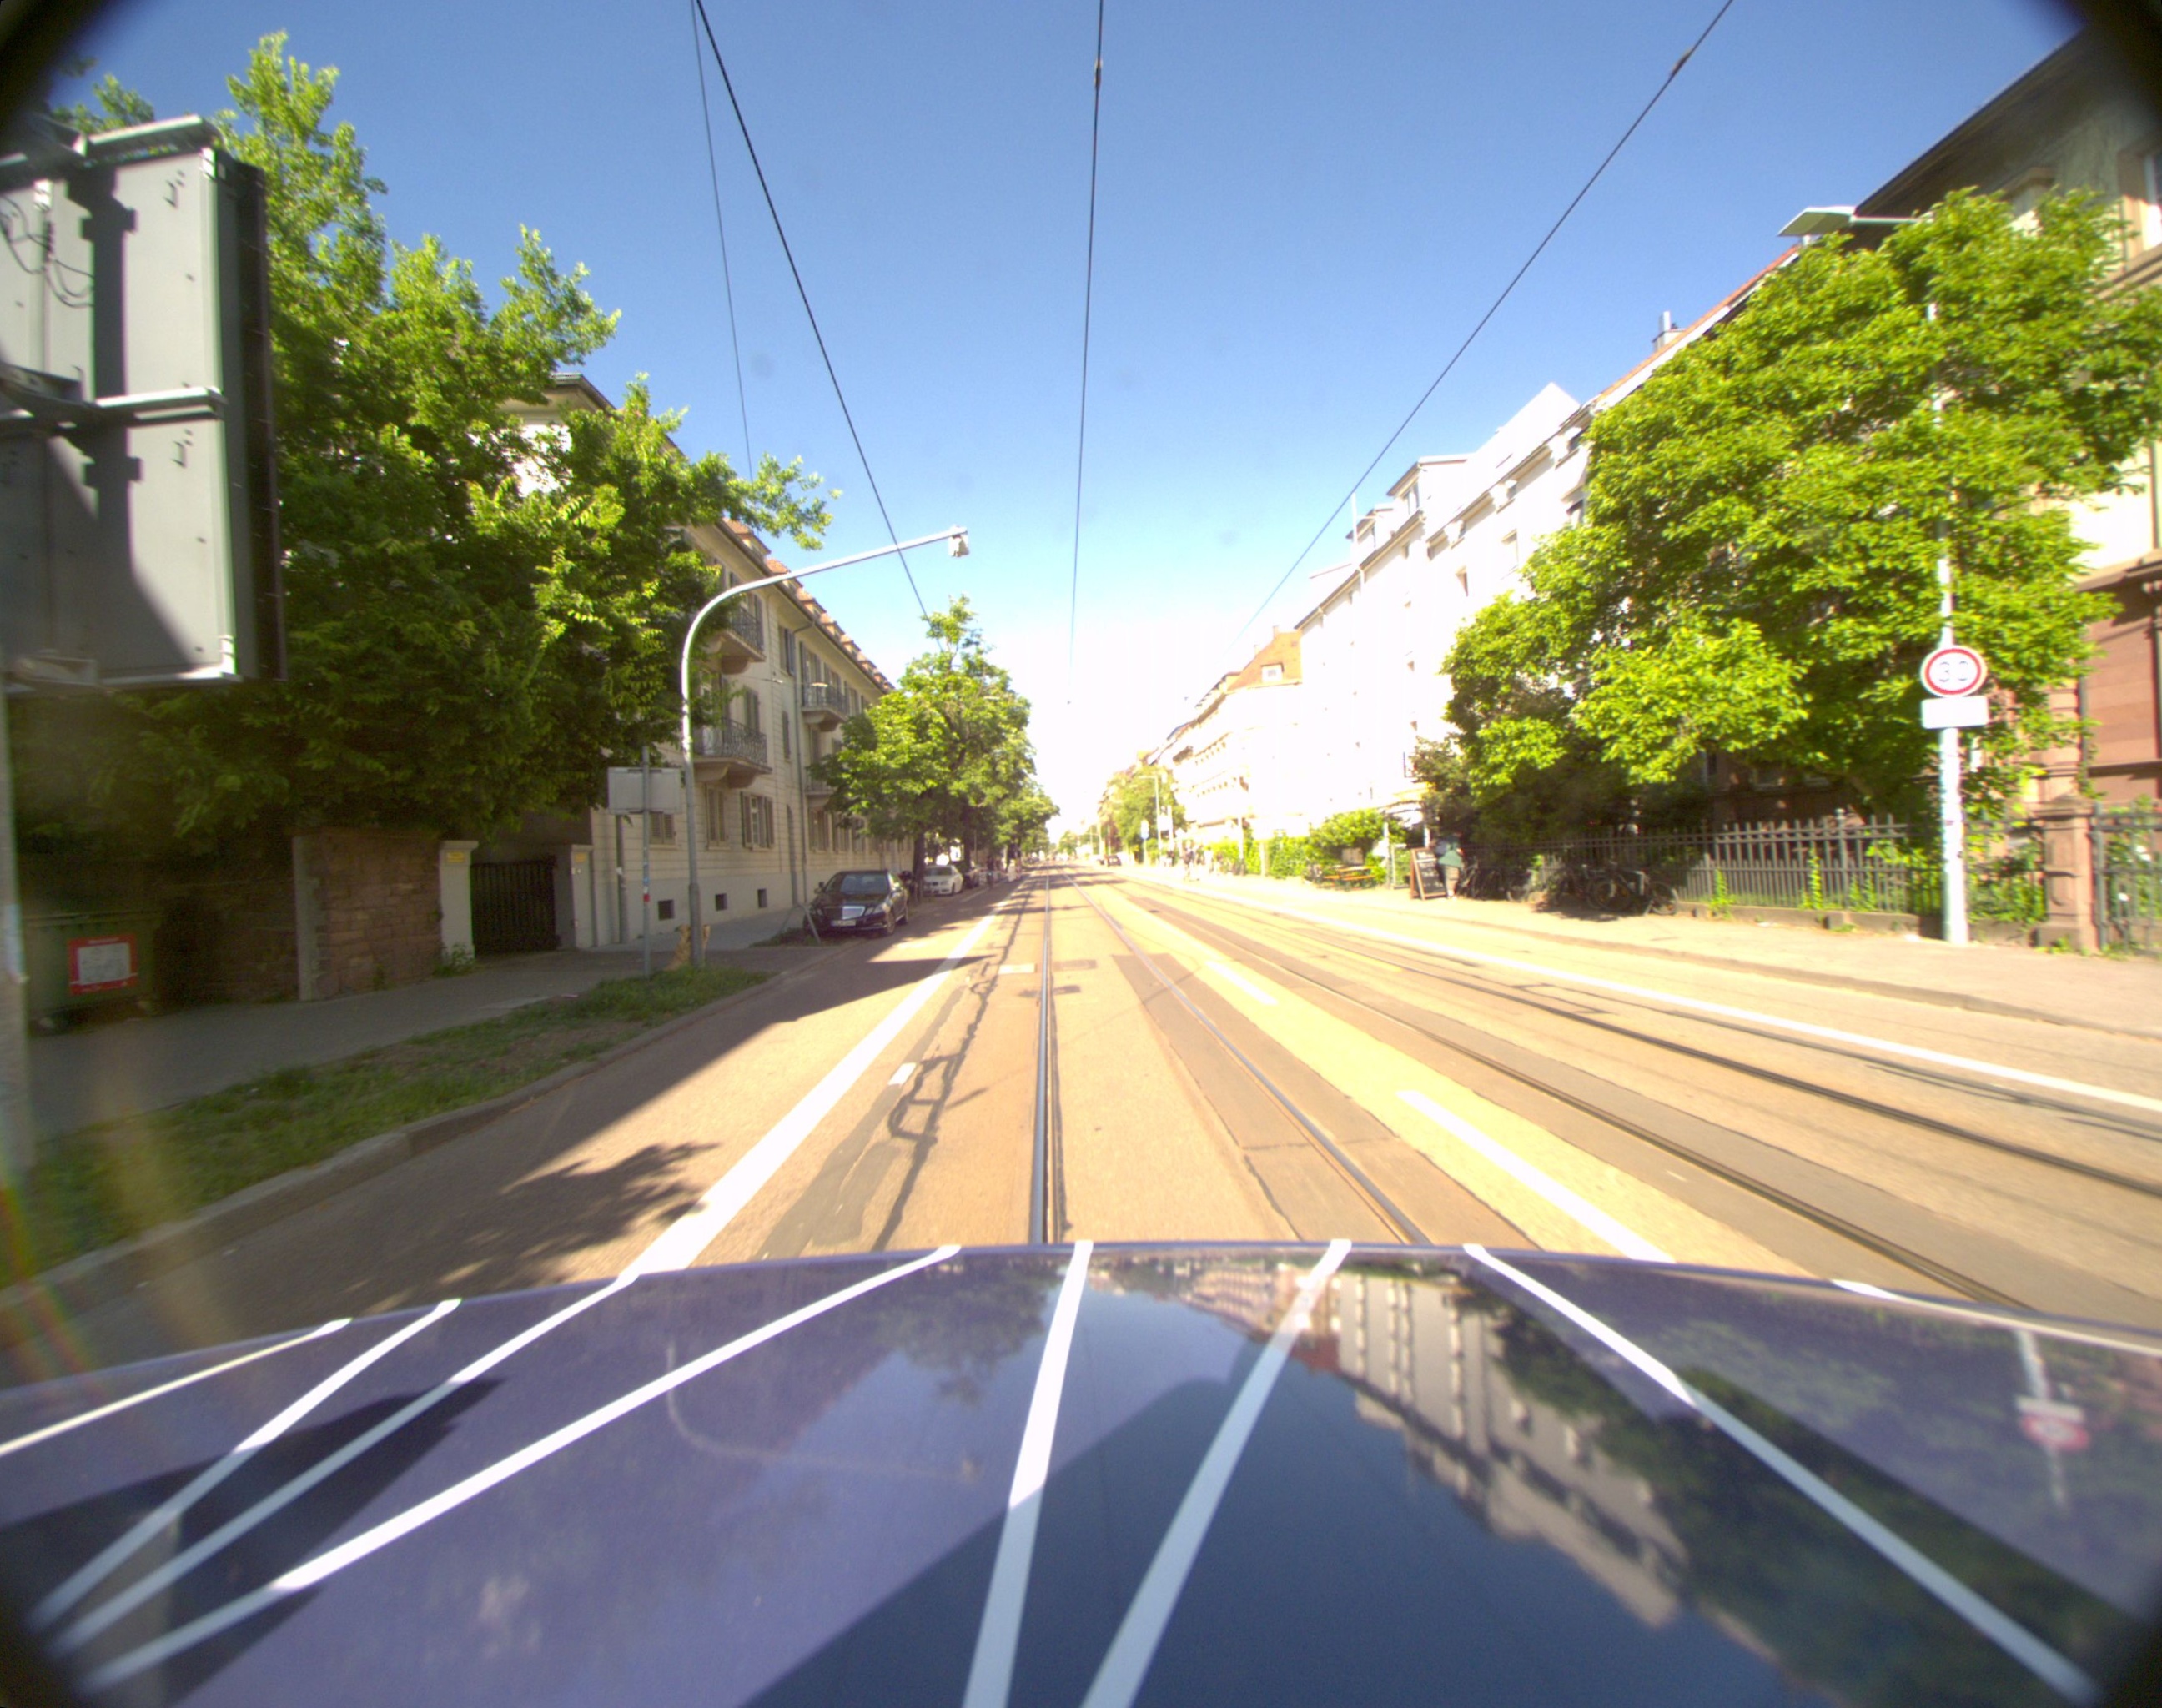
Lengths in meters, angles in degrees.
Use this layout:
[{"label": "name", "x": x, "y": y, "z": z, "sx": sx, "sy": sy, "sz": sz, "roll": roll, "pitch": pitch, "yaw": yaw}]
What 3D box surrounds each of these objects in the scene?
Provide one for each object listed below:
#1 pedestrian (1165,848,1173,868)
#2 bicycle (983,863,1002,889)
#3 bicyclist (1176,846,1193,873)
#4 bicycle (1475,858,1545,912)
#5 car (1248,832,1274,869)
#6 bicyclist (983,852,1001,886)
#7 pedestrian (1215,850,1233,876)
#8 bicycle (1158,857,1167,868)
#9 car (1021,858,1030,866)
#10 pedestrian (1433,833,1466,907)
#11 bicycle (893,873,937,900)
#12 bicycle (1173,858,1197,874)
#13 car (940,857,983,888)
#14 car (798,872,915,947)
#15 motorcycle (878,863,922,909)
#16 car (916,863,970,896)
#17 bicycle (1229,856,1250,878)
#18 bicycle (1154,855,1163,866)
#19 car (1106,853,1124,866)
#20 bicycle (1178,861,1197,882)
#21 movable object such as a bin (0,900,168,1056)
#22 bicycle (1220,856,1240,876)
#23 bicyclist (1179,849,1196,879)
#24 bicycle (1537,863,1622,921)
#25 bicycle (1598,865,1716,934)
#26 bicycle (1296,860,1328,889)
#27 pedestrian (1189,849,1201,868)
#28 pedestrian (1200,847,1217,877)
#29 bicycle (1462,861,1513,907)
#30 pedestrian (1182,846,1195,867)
[{"label": "pedestrian", "x": 8.007, "y": 0.391, "z": 68.854, "sx": 0.558, "sy": 1.771, "sz": 0.538, "roll": -3, "pitch": 1, "yaw": -5}, {"label": "bicycle", "x": -4.653, "y": 1.151, "z": 40.188, "sx": 0.763, "sy": 1.235, "sz": 2.095, "roll": -4, "pitch": 0, "yaw": -2}, {"label": "bicyclist", "x": 7.265, "y": 0.386, "z": 53.237, "sx": 0.705, "sy": 1.843, "sz": 0.987, "roll": -1, "pitch": 2, "yaw": 41}, {"label": "bicycle", "x": 10.031, "y": 0.698, "z": 17.855, "sx": 0.647, "sy": 1.137, "sz": 1.905, "roll": -5, "pitch": 0, "yaw": 6}, {"label": "car", "x": 14.813, "y": -0.306, "z": 62.250, "sx": 1.889, "sy": 2.825, "sz": 4.787, "roll": -2, "pitch": 1, "yaw": 15}, {"label": "bicyclist", "x": -4.679, "y": 0.760, "z": 40.145, "sx": 0.763, "sy": 1.728, "sz": 1.046, "roll": -4, "pitch": 0, "yaw": -3}, {"label": "pedestrian", "x": 8.419, "y": 0.535, "z": 44.748, "sx": 0.756, "sy": 1.469, "sz": 0.956, "roll": -4, "pitch": 0, "yaw": -2}, {"label": "bicycle", "x": 7.518, "y": 0.755, "z": 70.341, "sx": 0.528, "sy": 0.975, "sz": 1.777, "roll": -3, "pitch": 0, "yaw": -2}, {"label": "car", "x": -11.251, "y": 1.668, "z": 154.823, "sx": 1.762, "sy": 1.458, "sz": 4.612, "roll": -1, "pitch": 0, "yaw": -5}, {"label": "pedestrian", "x": 9.364, "y": 0.394, "z": 19.313, "sx": 0.576, "sy": 1.821, "sz": 0.690, "roll": -3, "pitch": 1, "yaw": 17}, {"label": "bicycle", "x": -6.665, "y": 1.315, "z": 30.574, "sx": 1.624, "sy": 1.037, "sz": 0.685, "roll": -1, "pitch": 0, "yaw": -1}, {"label": "bicycle", "x": 7.280, "y": 0.834, "z": 53.252, "sx": 0.705, "sy": 1.049, "sz": 1.838, "roll": -1, "pitch": 2, "yaw": 41}, {"label": "car", "x": -6.688, "y": 1.009, "z": 42.996, "sx": 1.815, "sy": 1.616, "sz": 4.583, "roll": 0, "pitch": 0, "yaw": -2}, {"label": "car", "x": -5.273, "y": 1.225, "z": 18.482, "sx": 1.827, "sy": 1.450, "sz": 4.816, "roll": -1, "pitch": 0, "yaw": -6}, {"label": "motorcycle", "x": -6.330, "y": 1.078, "z": 26.720, "sx": 0.916, "sy": 1.480, "sz": 2.679, "roll": -1, "pitch": 0, "yaw": -1}, {"label": "car", "x": -6.285, "y": 1.142, "z": 35.022, "sx": 1.728, "sy": 1.374, "sz": 4.355, "roll": -1, "pitch": 0, "yaw": -1}, {"label": "bicycle", "x": 8.816, "y": 0.723, "z": 42.352, "sx": 0.663, "sy": 1.083, "sz": 1.839, "roll": -6, "pitch": 1, "yaw": -2}, {"label": "bicycle", "x": 7.516, "y": 0.649, "z": 74.110, "sx": 0.515, "sy": 1.032, "sz": 2.222, "roll": -3, "pitch": 0, "yaw": -2}, {"label": "car", "x": 4.241, "y": 0.667, "z": 95.966, "sx": 1.870, "sy": 1.567, "sz": 4.587, "roll": -1, "pitch": 0, "yaw": -2}, {"label": "bicycle", "x": 5.702, "y": 0.944, "z": 40.812, "sx": 0.747, "sy": 1.075, "sz": 1.898, "roll": 0, "pitch": 0, "yaw": -1}, {"label": "movable object such as a bin", "x": -11.113, "y": 1.288, "z": 8.159, "sx": 0.936, "sy": 1.455, "sz": 1.331, "roll": -3, "pitch": 0, "yaw": -3}, {"label": "bicycle", "x": 8.724, "y": 0.706, "z": 44.411, "sx": 0.663, "sy": 1.083, "sz": 1.839, "roll": -6, "pitch": 1, "yaw": -2}, {"label": "bicyclist", "x": 5.704, "y": 0.544, "z": 40.830, "sx": 0.747, "sy": 1.590, "sz": 1.117, "roll": 0, "pitch": 0, "yaw": -1}, {"label": "bicycle", "x": 10.069, "y": 0.740, "z": 15.437, "sx": 0.591, "sy": 1.039, "sz": 1.905, "roll": -4, "pitch": 0, "yaw": 6}, {"label": "bicycle", "x": 10.039, "y": 0.756, "z": 13.347, "sx": 0.591, "sy": 1.039, "sz": 1.905, "roll": -4, "pitch": 0, "yaw": 1}, {"label": "bicycle", "x": 9.172, "y": 0.785, "z": 30.257, "sx": 0.640, "sy": 1.053, "sz": 1.742, "roll": -5, "pitch": 0, "yaw": -1}, {"label": "pedestrian", "x": 9.963, "y": 0.397, "z": 66.450, "sx": 0.705, "sy": 1.645, "sz": 0.834, "roll": -2, "pitch": 2, "yaw": 29}, {"label": "pedestrian", "x": 7.548, "y": 0.483, "z": 45.007, "sx": 0.756, "sy": 1.704, "sz": 0.808, "roll": -4, "pitch": 0, "yaw": -2}, {"label": "bicycle", "x": 10.258, "y": 0.723, "z": 19.236, "sx": 0.637, "sy": 1.039, "sz": 2.024, "roll": -3, "pitch": 0, "yaw": 14}, {"label": "pedestrian", "x": 9.269, "y": 0.179, "z": 65.596, "sx": 0.692, "sy": 1.758, "sz": 0.868, "roll": -2, "pitch": 1, "yaw": 39}]
